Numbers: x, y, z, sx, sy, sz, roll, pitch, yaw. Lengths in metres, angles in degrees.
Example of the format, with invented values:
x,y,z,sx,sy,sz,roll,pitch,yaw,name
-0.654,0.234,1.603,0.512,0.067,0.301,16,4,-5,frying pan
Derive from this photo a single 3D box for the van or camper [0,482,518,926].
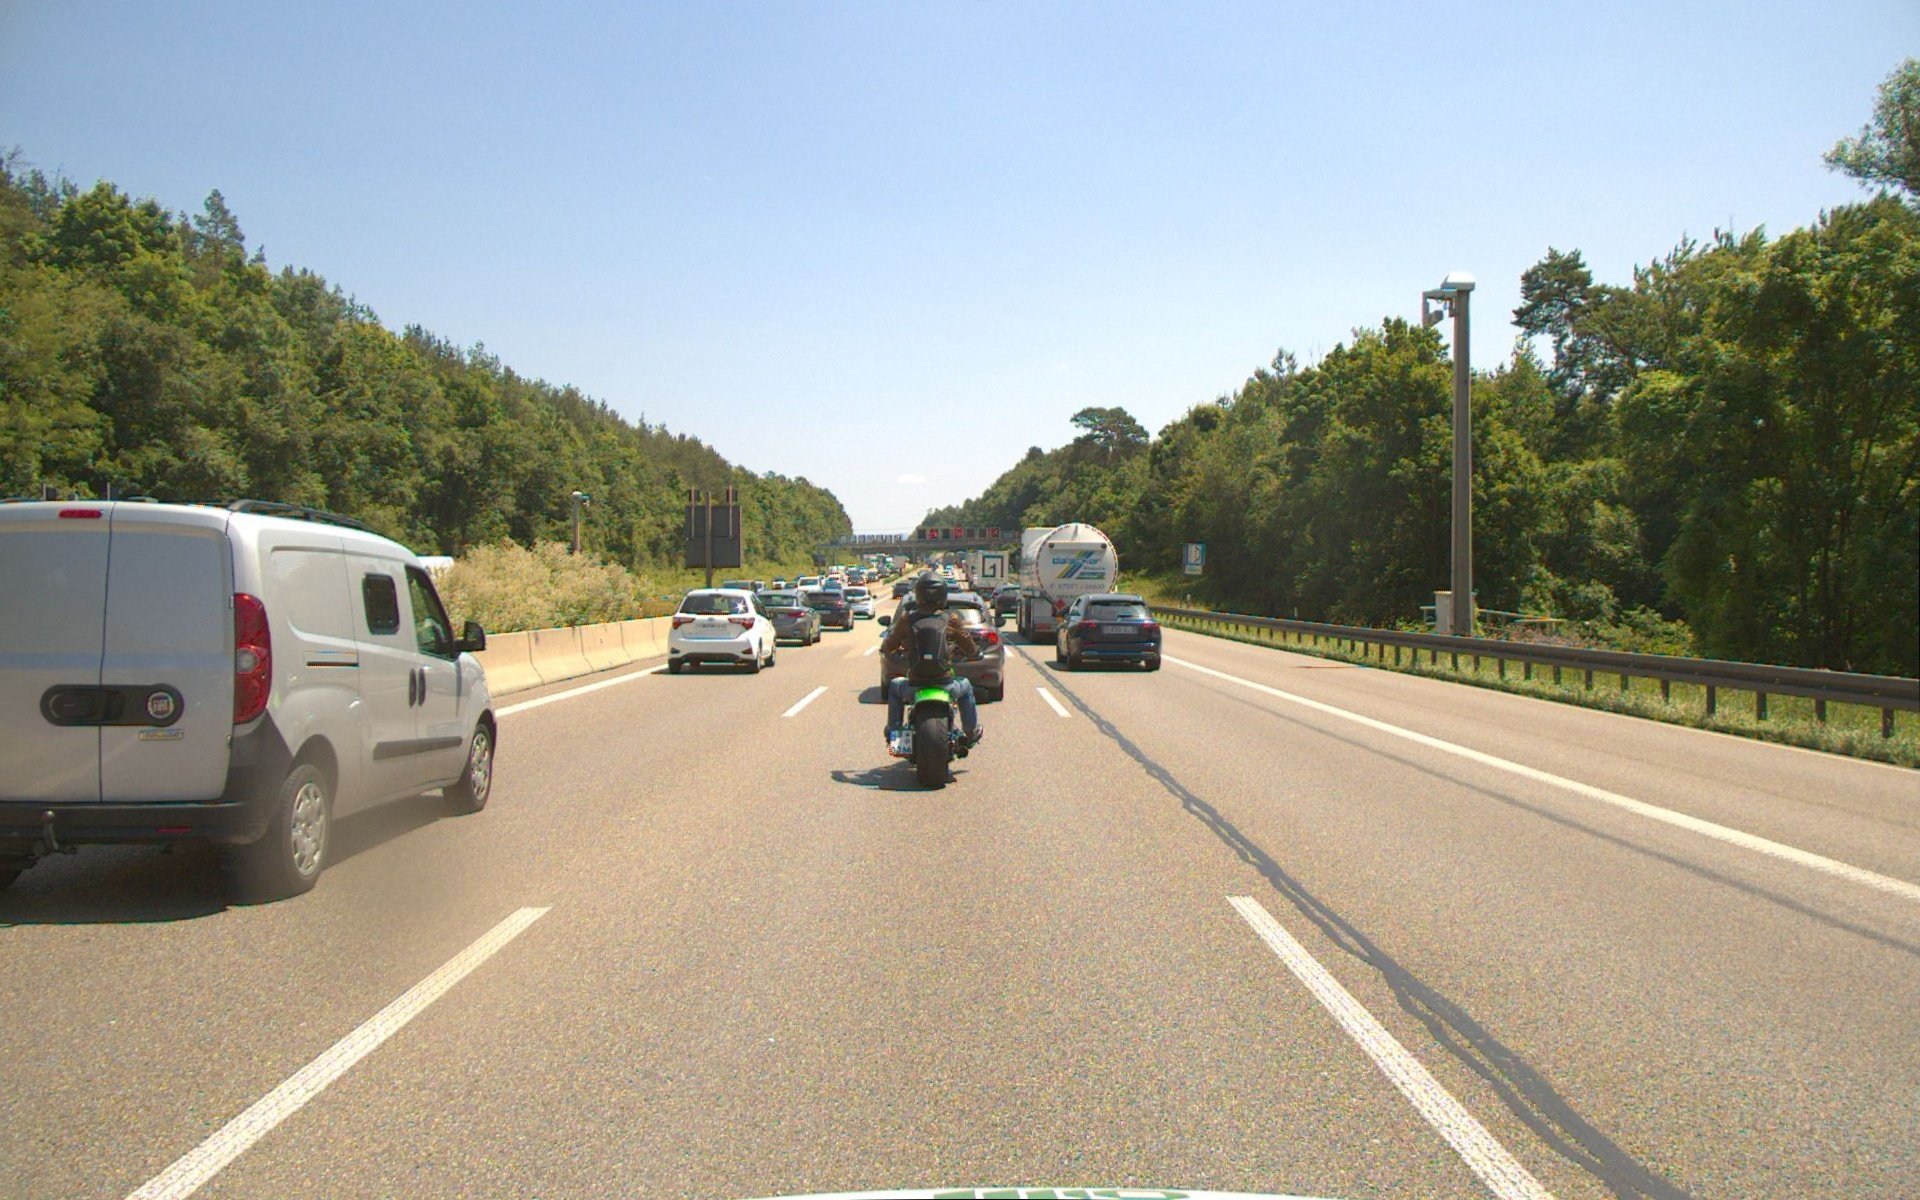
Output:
x,y,z,sx,sy,sz,roll,pitch,yaw,name
-4.031,0.436,9.444,1.815,1.913,4.561,1,0,-1,van or camper

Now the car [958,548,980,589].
x,y,z,sx,sy,sz,roll,pitch,yaw,name
0.953,-3.322,176.302,2.123,3.961,9.328,1,-1,0,car

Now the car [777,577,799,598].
x,y,z,sx,sy,sz,roll,pitch,yaw,name
-15.372,-1.122,147.915,1.662,1.845,3.999,1,0,-1,car

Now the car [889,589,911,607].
x,y,z,sx,sy,sz,roll,pitch,yaw,name
-4.976,-0.138,137.628,1.728,1.467,4.000,1,0,0,car

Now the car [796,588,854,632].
x,y,z,sx,sy,sz,roll,pitch,yaw,name
-4.754,0.390,58.622,1.954,1.490,3.996,1,-1,-4,car

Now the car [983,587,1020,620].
x,y,z,sx,sy,sz,roll,pitch,yaw,name
2.057,0.189,83.205,1.739,1.554,3.999,1,-1,0,car

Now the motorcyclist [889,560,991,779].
x,y,z,sx,sy,sz,roll,pitch,yaw,name
-0.163,0.556,13.523,0.782,1.717,1.016,1,-1,-1,motorcyclist

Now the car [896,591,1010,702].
x,y,z,sx,sy,sz,roll,pitch,yaw,name
-0.109,0.633,24.164,1.509,1.476,3.999,1,0,0,car

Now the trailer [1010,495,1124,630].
x,y,z,sx,sy,sz,roll,pitch,yaw,name
3.151,-0.952,51.608,2.770,3.735,10.730,1,-1,0,trailer

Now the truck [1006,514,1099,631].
x,y,z,sx,sy,sz,roll,pitch,yaw,name
3.099,-0.833,56.962,2.770,3.735,6.428,1,-1,0,truck

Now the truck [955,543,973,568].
x,y,z,sx,sy,sz,roll,pitch,yaw,name
0.570,-6.831,254.253,2.641,3.465,10.476,0,0,0,truck

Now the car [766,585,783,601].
x,y,z,sx,sy,sz,roll,pitch,yaw,name
-23.607,-0.881,210.612,1.953,2.049,3.998,0,0,-2,car

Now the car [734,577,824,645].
x,y,z,sx,sy,sz,roll,pitch,yaw,name
-4.848,0.326,44.767,1.953,1.713,4.329,1,-1,0,car

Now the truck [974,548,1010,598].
x,y,z,sx,sy,sz,roll,pitch,yaw,name
2.698,-2.223,138.637,2.794,3.888,7.189,1,-1,2,truck

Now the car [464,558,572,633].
x,y,z,sx,sy,sz,roll,pitch,yaw,name
-12.630,-0.137,47.510,1.953,2.049,4.272,0,0,0,car

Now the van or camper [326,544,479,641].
x,y,z,sx,sy,sz,roll,pitch,yaw,name
-15.205,-0.121,45.559,2.108,2.465,6.195,1,-1,-1,van or camper

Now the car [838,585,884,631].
x,y,z,sx,sy,sz,roll,pitch,yaw,name
-4.584,0.400,77.141,1.953,2.049,3.999,1,-1,-1,car

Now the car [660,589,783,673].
x,y,z,sx,sy,sz,roll,pitch,yaw,name
-4.415,0.533,31.092,1.739,1.435,4.000,1,0,0,car

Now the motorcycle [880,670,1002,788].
x,y,z,sx,sy,sz,roll,pitch,yaw,name
-0.154,1.025,13.706,0.917,0.807,2.298,1,-1,0,motorcycle

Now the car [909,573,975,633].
x,y,z,sx,sy,sz,roll,pitch,yaw,name
-0.575,0.131,51.164,1.953,1.741,3.998,1,-1,-1,car

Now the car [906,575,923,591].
x,y,z,sx,sy,sz,roll,pitch,yaw,name
-4.916,-1.840,179.191,1.626,1.627,4.000,0,-1,0,car

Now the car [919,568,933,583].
x,y,z,sx,sy,sz,roll,pitch,yaw,name
-4.826,-3.459,237.649,1.953,2.049,3.999,0,-1,-1,car

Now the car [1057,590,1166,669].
x,y,z,sx,sy,sz,roll,pitch,yaw,name
3.032,0.606,33.868,1.755,1.484,4.623,1,-1,0,car
